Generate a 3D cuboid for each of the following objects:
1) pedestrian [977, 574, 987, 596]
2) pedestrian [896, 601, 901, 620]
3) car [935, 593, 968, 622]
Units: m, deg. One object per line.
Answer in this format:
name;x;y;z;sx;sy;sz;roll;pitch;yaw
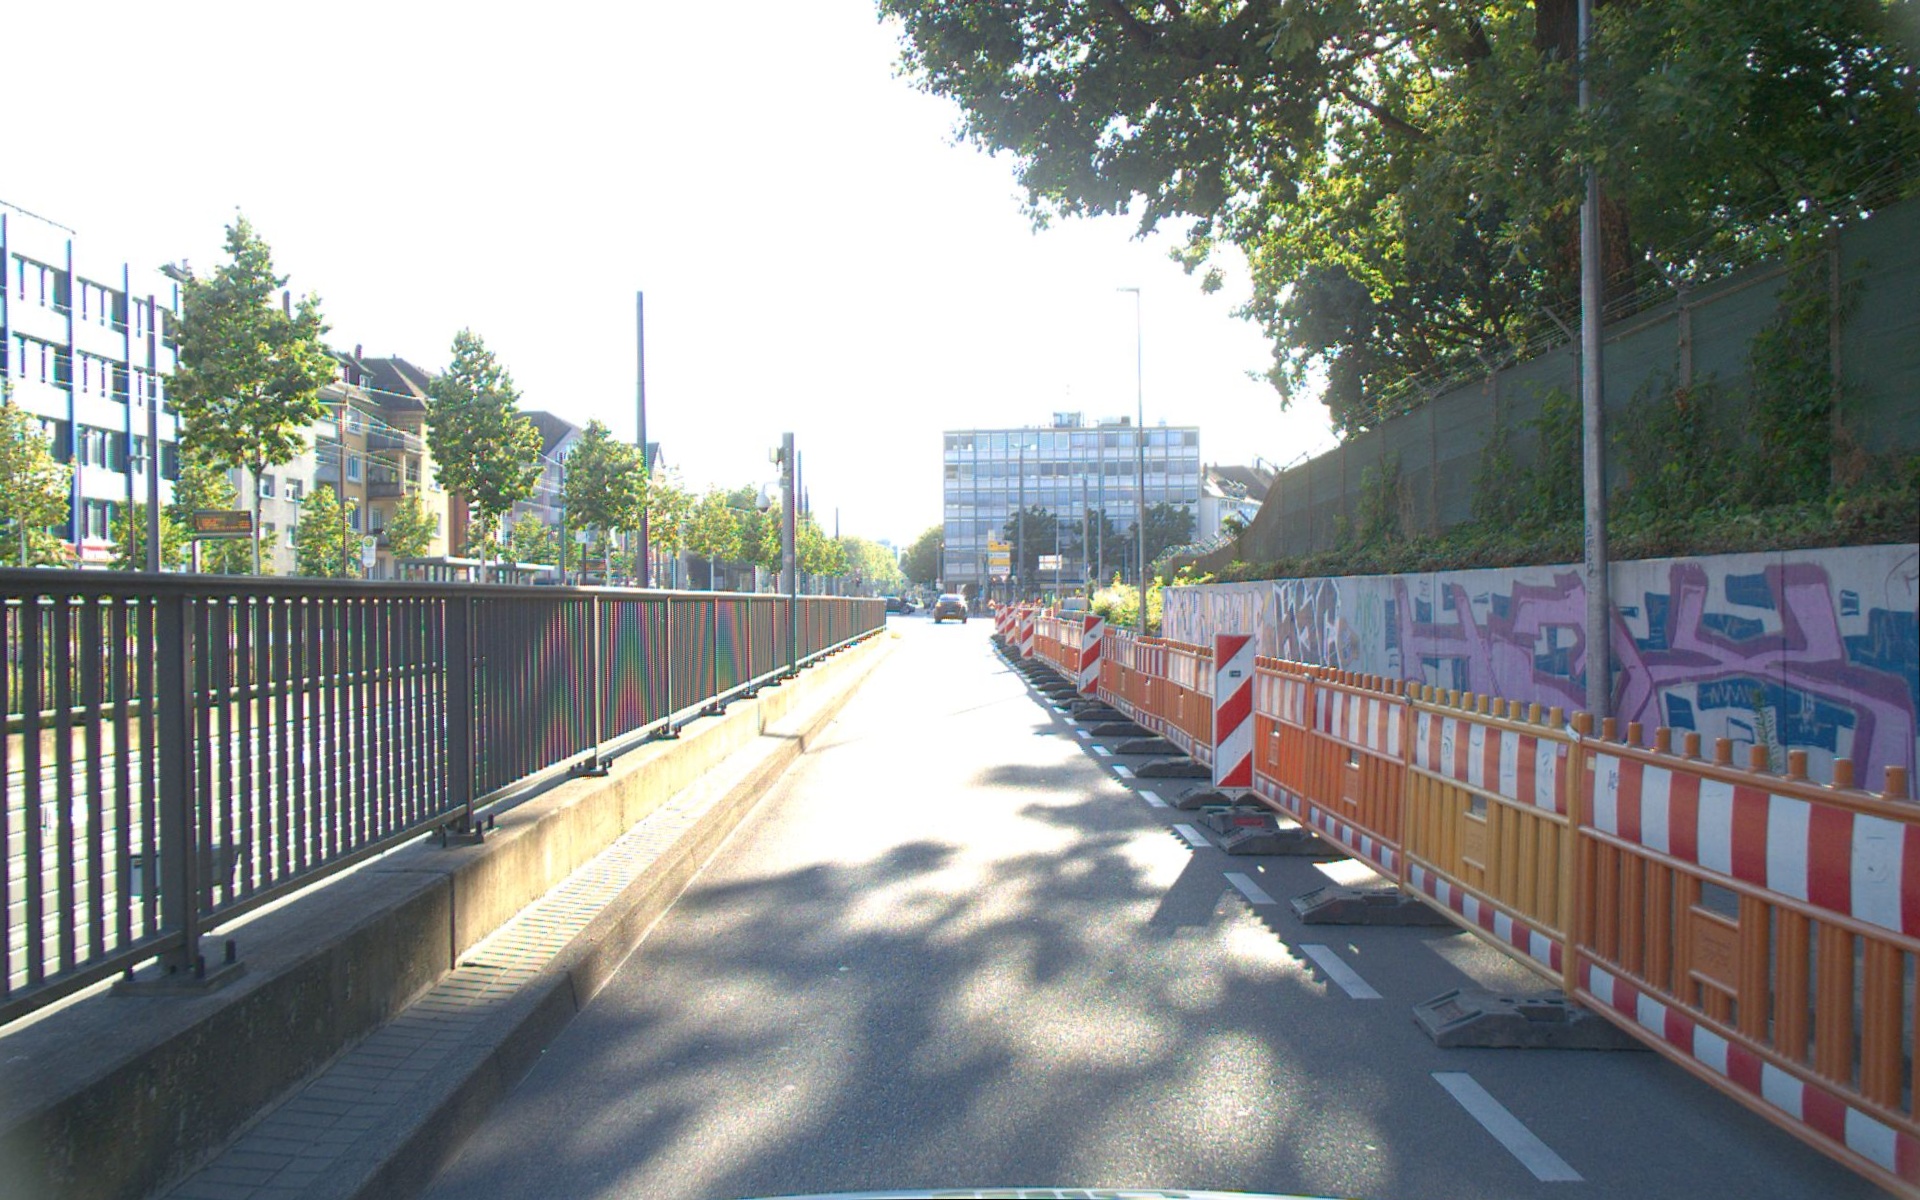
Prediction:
pedestrian;2.217;-1.526;166.410;0.873;2.149;0.718;0;0;4
pedestrian;-5.290;0.932;142.729;0.272;1.602;0.436;2;-1;-27
car;-0.500;0.464;102.758;1.964;1.688;4.000;1;-1;0
